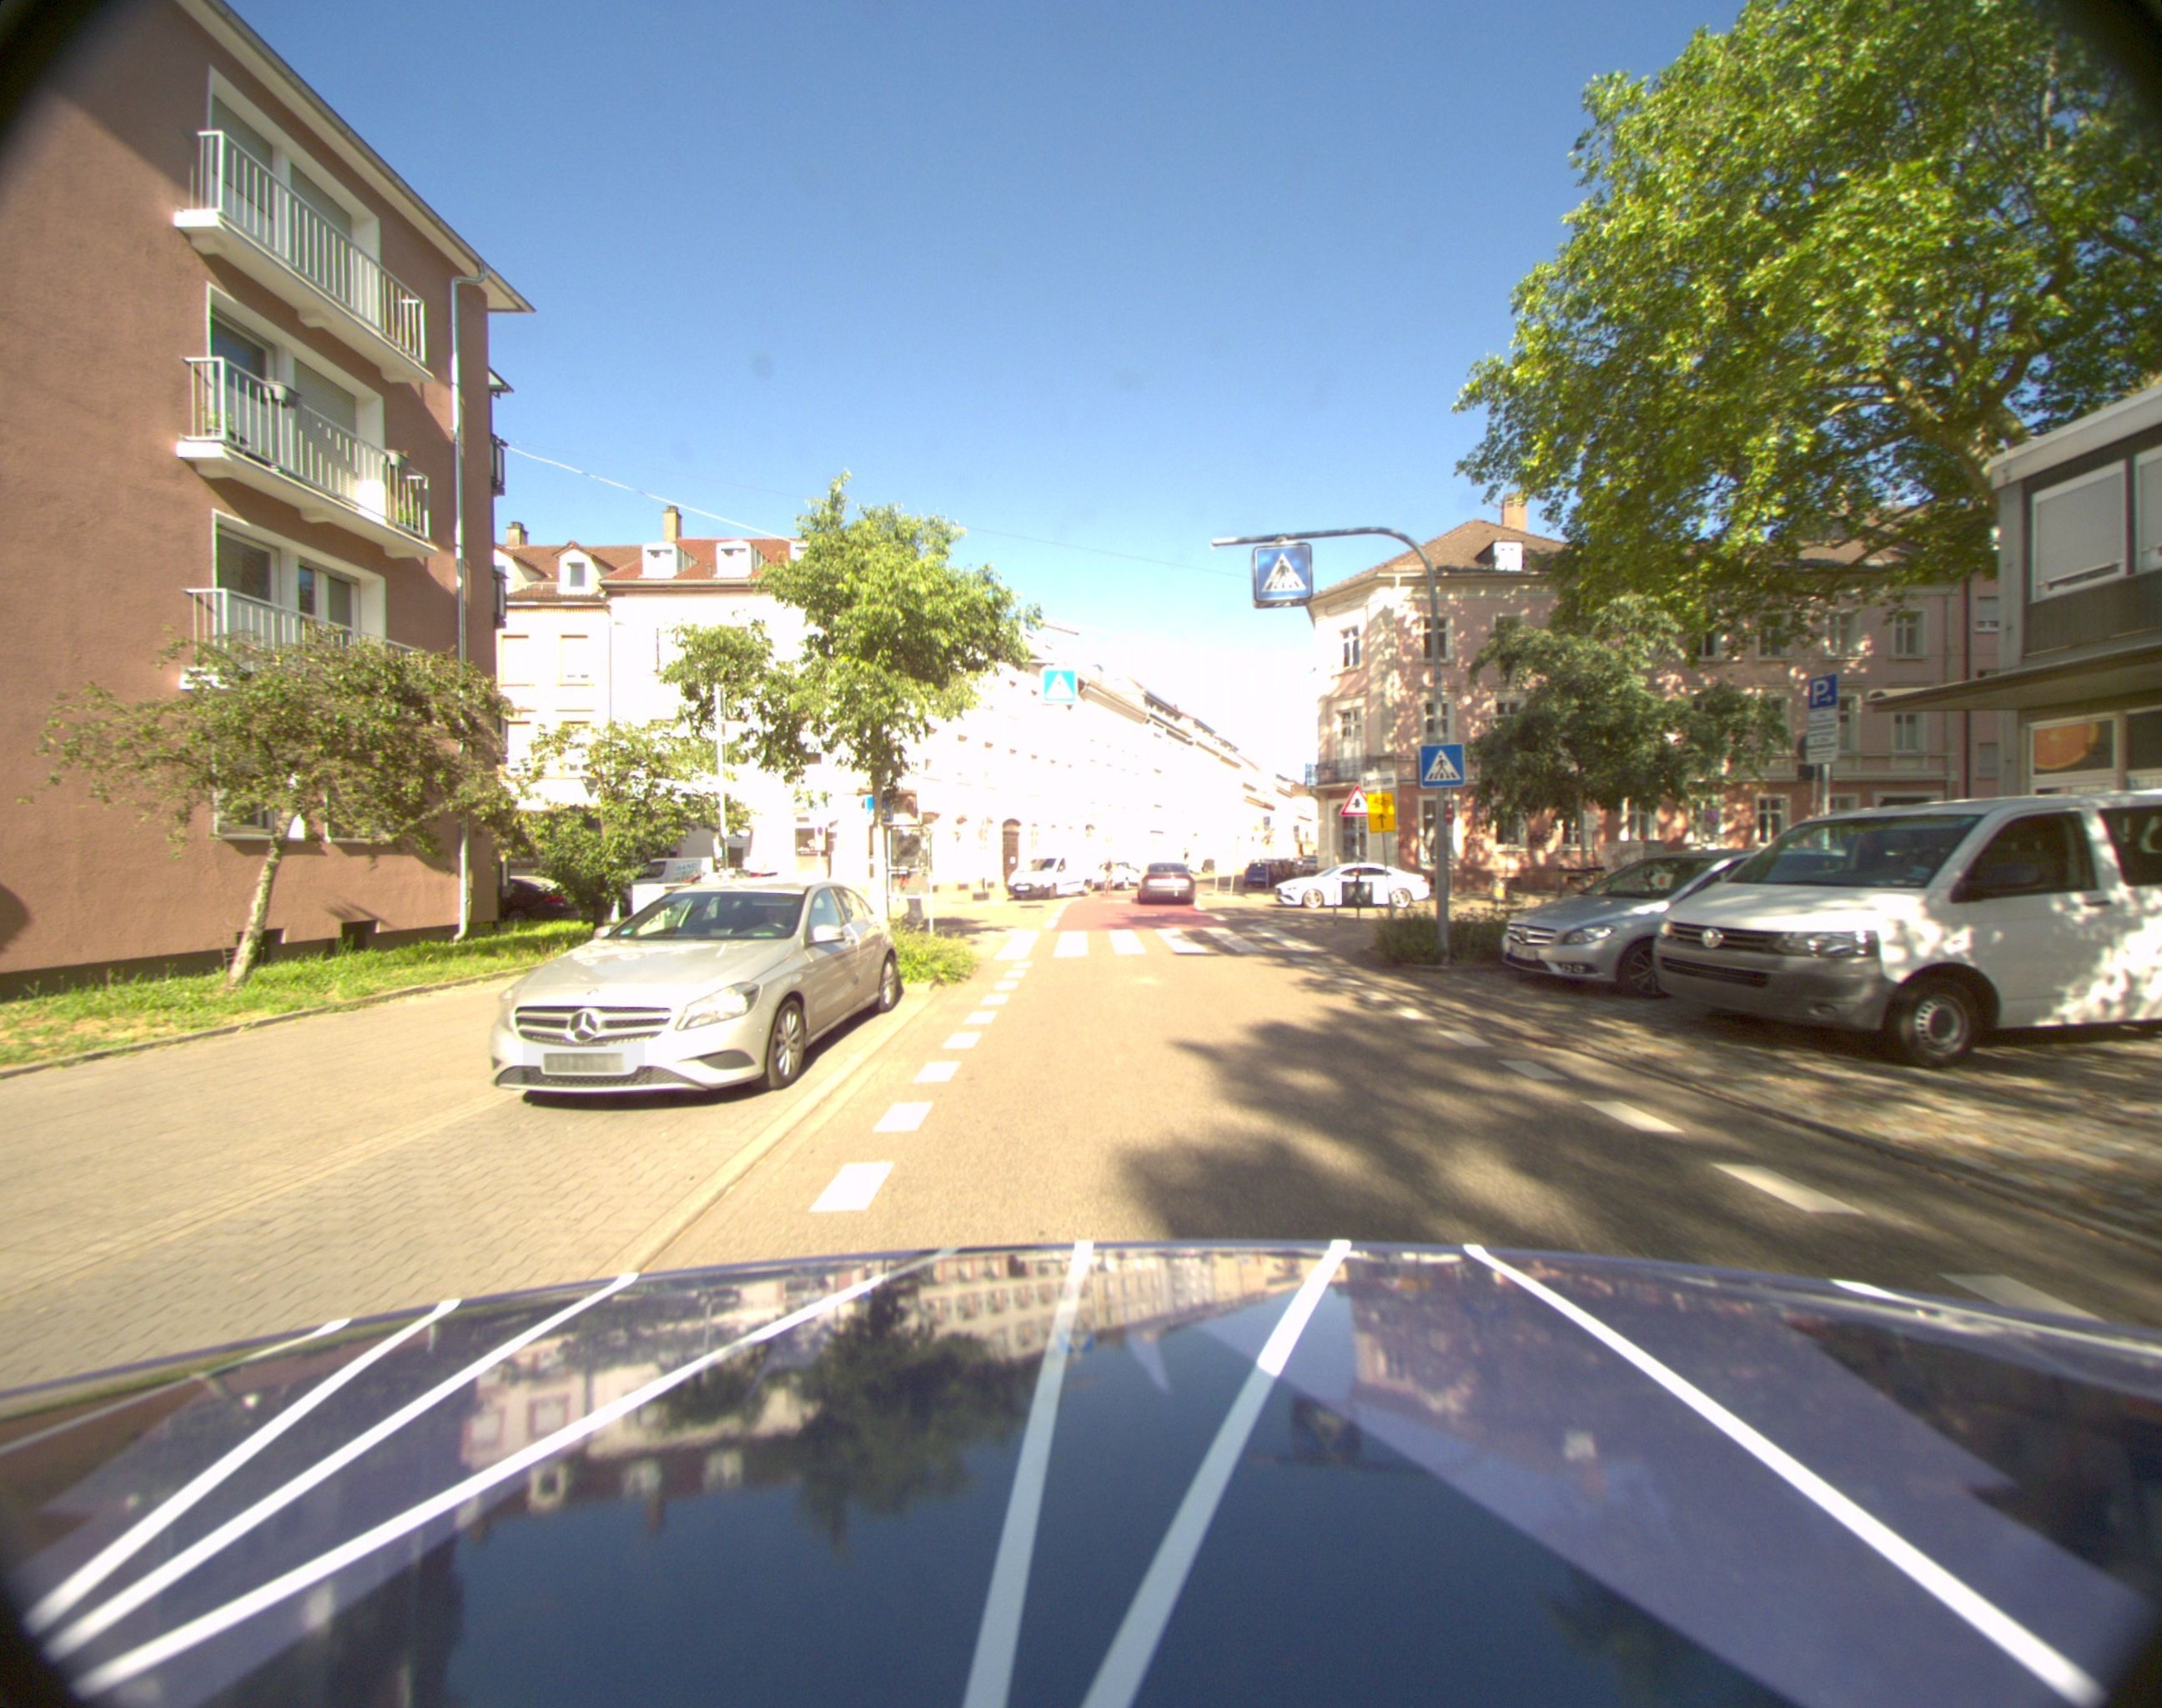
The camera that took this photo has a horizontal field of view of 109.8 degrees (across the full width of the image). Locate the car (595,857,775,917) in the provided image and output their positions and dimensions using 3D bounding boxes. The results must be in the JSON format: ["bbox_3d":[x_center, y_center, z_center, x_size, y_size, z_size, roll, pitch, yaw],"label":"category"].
[{"bbox_3d":[-13.148,1.112,25.478,5.011,1.847,1.901,-1,-2,-2],"label":"car"}]

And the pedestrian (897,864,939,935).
[{"bbox_3d":[-3.827,1.054,17.880,0.735,1.605,0.816,-1,1,3],"label":"pedestrian"}]

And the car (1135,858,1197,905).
[{"bbox_3d":[2.907,0.899,26.831,1.913,1.445,4.578,-1,0,4],"label":"car"}]

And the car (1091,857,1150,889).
[{"bbox_3d":[2.159,1.000,40.433,1.642,1.532,4.390,-2,-1,23],"label":"car"}]

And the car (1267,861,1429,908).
[{"bbox_3d":[8.456,0.953,24.348,4.559,1.448,1.864,0,-1,1],"label":"car"}]

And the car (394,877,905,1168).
[{"bbox_3d":[-2.855,0.996,6.256,1.744,1.445,4.155,-1,0,1],"label":"car"}]

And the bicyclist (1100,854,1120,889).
[{"bbox_3d":[1.260,0.764,33.356,0.637,1.538,1.026,-1,0,15],"label":"bicyclist"}]

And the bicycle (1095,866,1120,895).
[{"bbox_3d":[1.184,1.144,33.219,0.671,1.192,1.928,-1,-1,15],"label":"bicycle"}]

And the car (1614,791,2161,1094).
[{"bbox_3d":[7.451,0.557,6.254,4.742,1.994,1.959,-2,0,-2],"label":"car"}]

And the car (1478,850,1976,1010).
[{"bbox_3d":[7.217,0.786,8.811,4.301,1.603,1.758,-1,0,-1],"label":"car"}]

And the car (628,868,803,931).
[{"bbox_3d":[-9.699,1.185,20.378,3.804,1.492,1.690,-1,1,-1],"label":"car"}]

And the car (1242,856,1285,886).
[{"bbox_3d":[10.244,0.927,42.421,1.703,1.426,3.644,2,2,23],"label":"car"}]

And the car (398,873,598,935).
[{"bbox_3d":[-15.508,1.297,20.353,4.076,1.491,1.659,-1,0,1],"label":"car"}]

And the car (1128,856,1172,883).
[{"bbox_3d":[4.277,0.902,46.645,1.628,1.532,3.645,-2,-1,23],"label":"car"}]

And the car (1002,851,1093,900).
[{"bbox_3d":[-1.314,0.842,32.144,2.046,1.934,5.033,-1,0,20],"label":"car"}]
